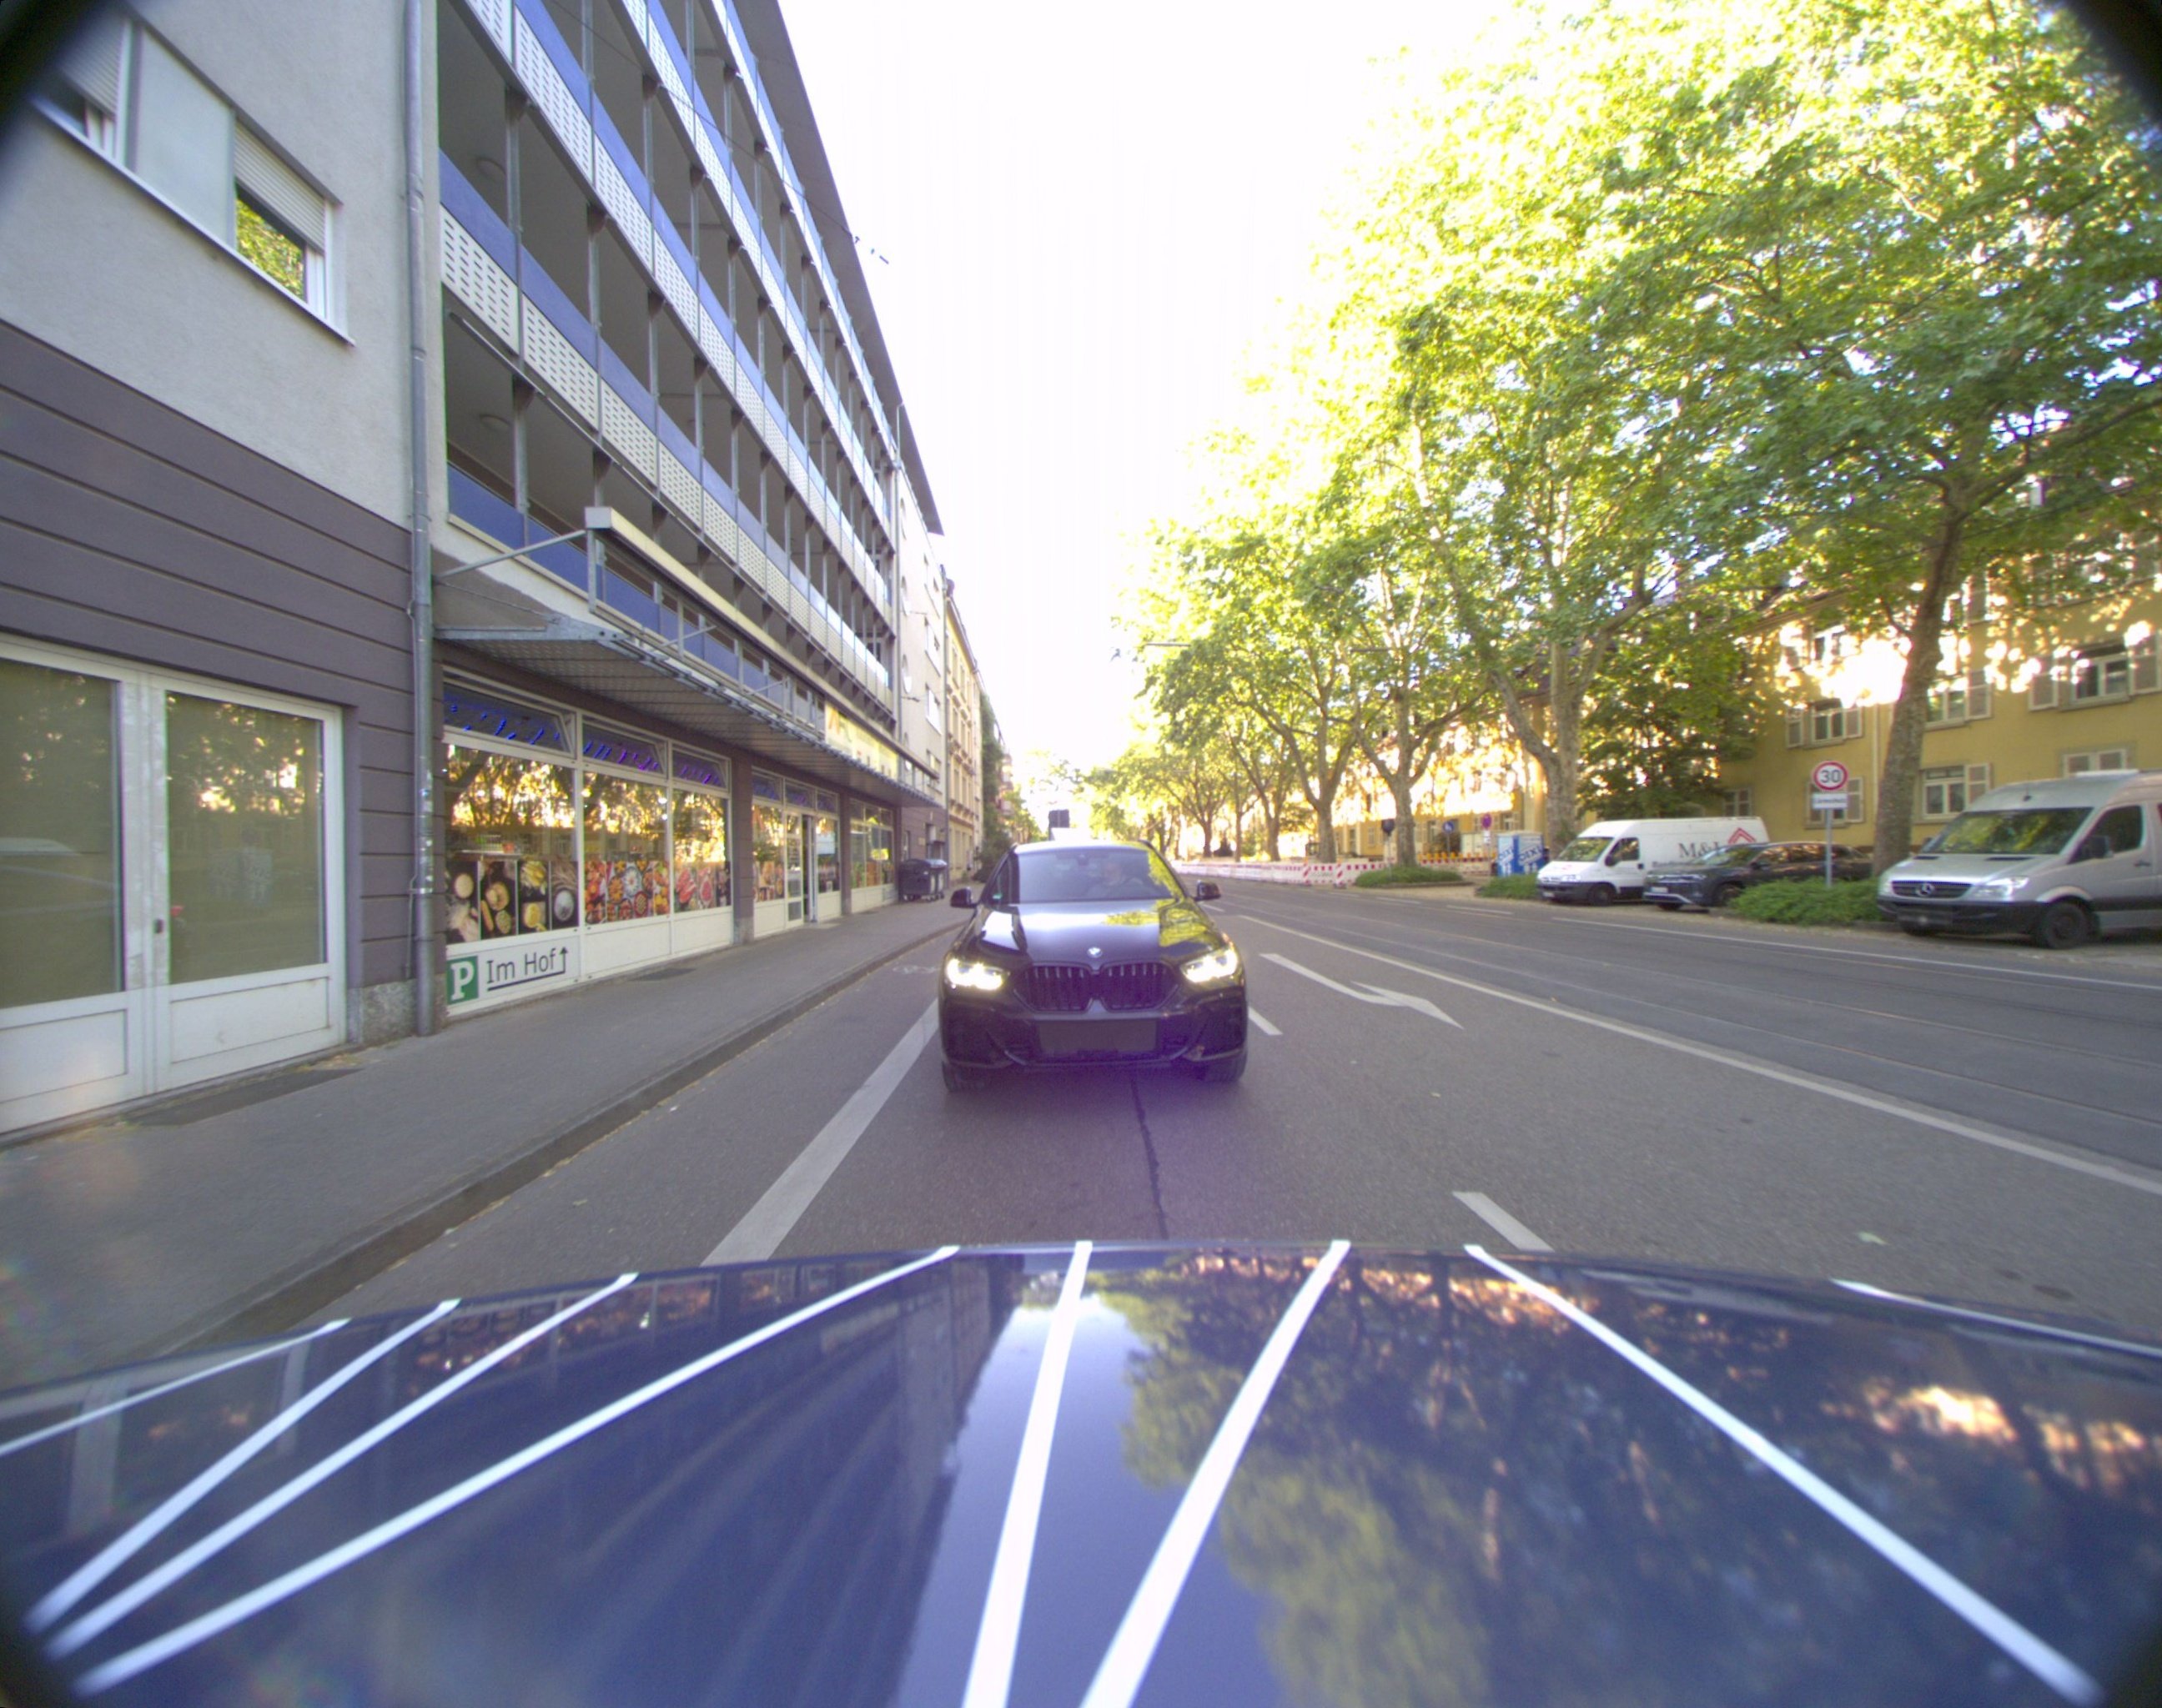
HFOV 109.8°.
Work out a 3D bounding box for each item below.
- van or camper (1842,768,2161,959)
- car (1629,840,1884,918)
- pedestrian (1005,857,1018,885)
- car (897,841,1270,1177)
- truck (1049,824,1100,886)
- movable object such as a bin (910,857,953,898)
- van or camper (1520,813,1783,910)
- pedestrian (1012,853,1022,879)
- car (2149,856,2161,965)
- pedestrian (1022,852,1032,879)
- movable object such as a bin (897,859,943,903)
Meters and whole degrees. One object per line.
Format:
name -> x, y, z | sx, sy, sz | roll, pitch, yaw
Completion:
van or camper -> 15.989, 0.054, 11.932 | 5.931, 2.633, 2.156 | -2, 1, 0
car -> 15.973, 0.557, 18.129 | 4.540, 1.624, 1.693 | -2, 1, 1
pedestrian -> -3.597, 0.874, 39.324 | 0.541, 1.437, 0.630 | -1, 0, 1
car -> 0.055, 0.806, 6.408 | 1.930, 1.742, 4.683 | -2, 1, 1
truck -> -0.433, 0.028, 41.317 | 2.344, 3.096, 5.210 | -2, 1, -4
movable object such as a bin -> -5.311, 0.837, 27.083 | 1.203, 1.402, 1.372 | -1, 0, 1
van or camper -> 15.848, 0.186, 21.338 | 5.763, 2.371, 2.156 | -2, 1, 0
pedestrian -> -4.144, 0.801, 49.340 | 0.541, 1.662, 0.513 | -1, 1, 1
car -> 16.309, 0.677, 9.212 | 4.276, 1.438, 1.693 | -2, 1, 1
pedestrian -> -3.391, 0.707, 47.497 | 0.541, 1.662, 0.630 | -1, 0, 1
movable object such as a bin -> -5.285, 0.863, 25.084 | 1.203, 1.402, 1.372 | -1, 0, 1
